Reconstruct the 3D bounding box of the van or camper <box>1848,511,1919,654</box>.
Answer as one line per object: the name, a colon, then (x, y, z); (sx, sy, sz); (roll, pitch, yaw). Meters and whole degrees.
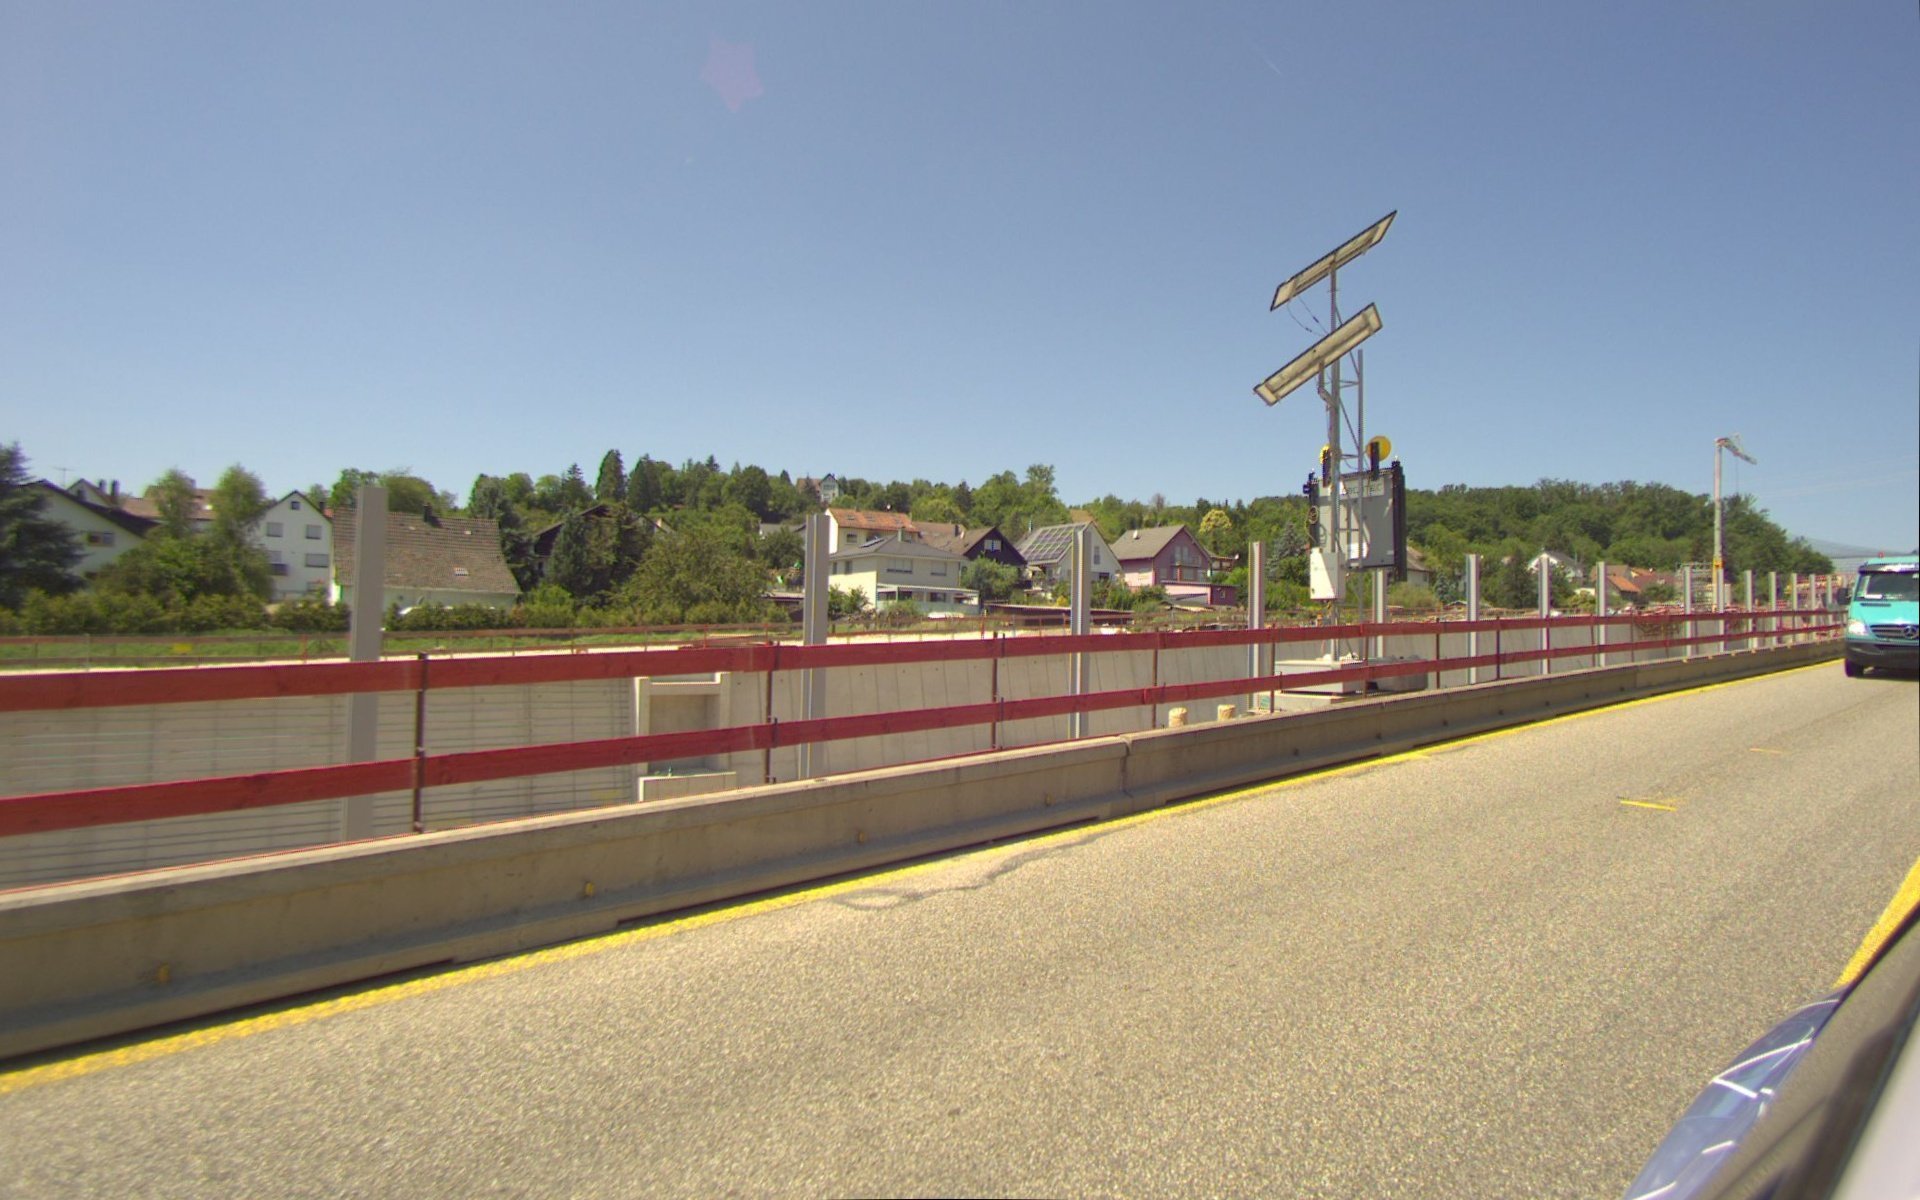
van or camper: (19.716, -0.301, 20.131); (7.536, 2.504, 2.096); (0, 0, -41)
